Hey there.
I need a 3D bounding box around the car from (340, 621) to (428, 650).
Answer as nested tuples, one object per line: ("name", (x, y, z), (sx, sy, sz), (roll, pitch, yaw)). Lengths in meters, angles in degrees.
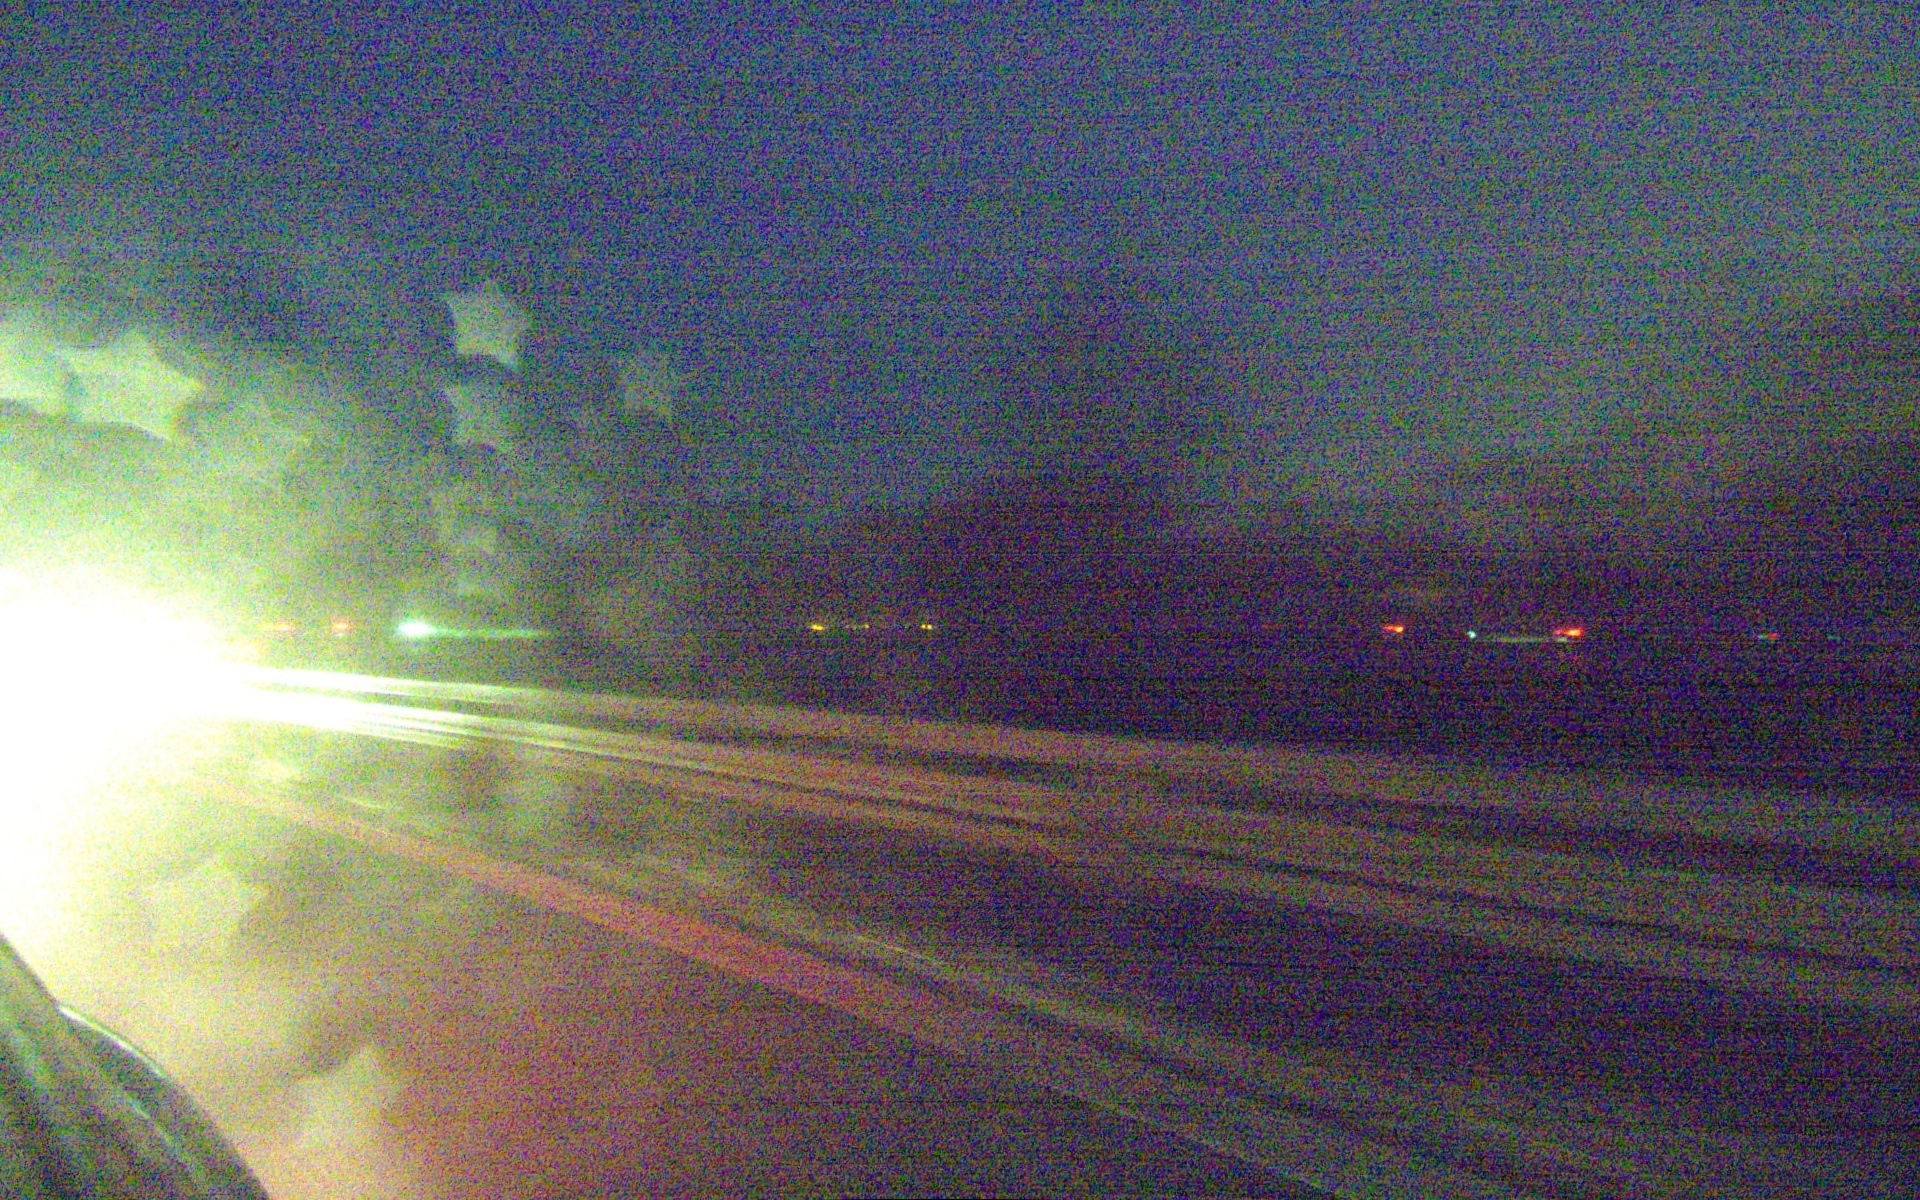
("car", (-33.110, 2.028, 58.267), (4.053, 1.552, 1.889), (0, -1, 1))
